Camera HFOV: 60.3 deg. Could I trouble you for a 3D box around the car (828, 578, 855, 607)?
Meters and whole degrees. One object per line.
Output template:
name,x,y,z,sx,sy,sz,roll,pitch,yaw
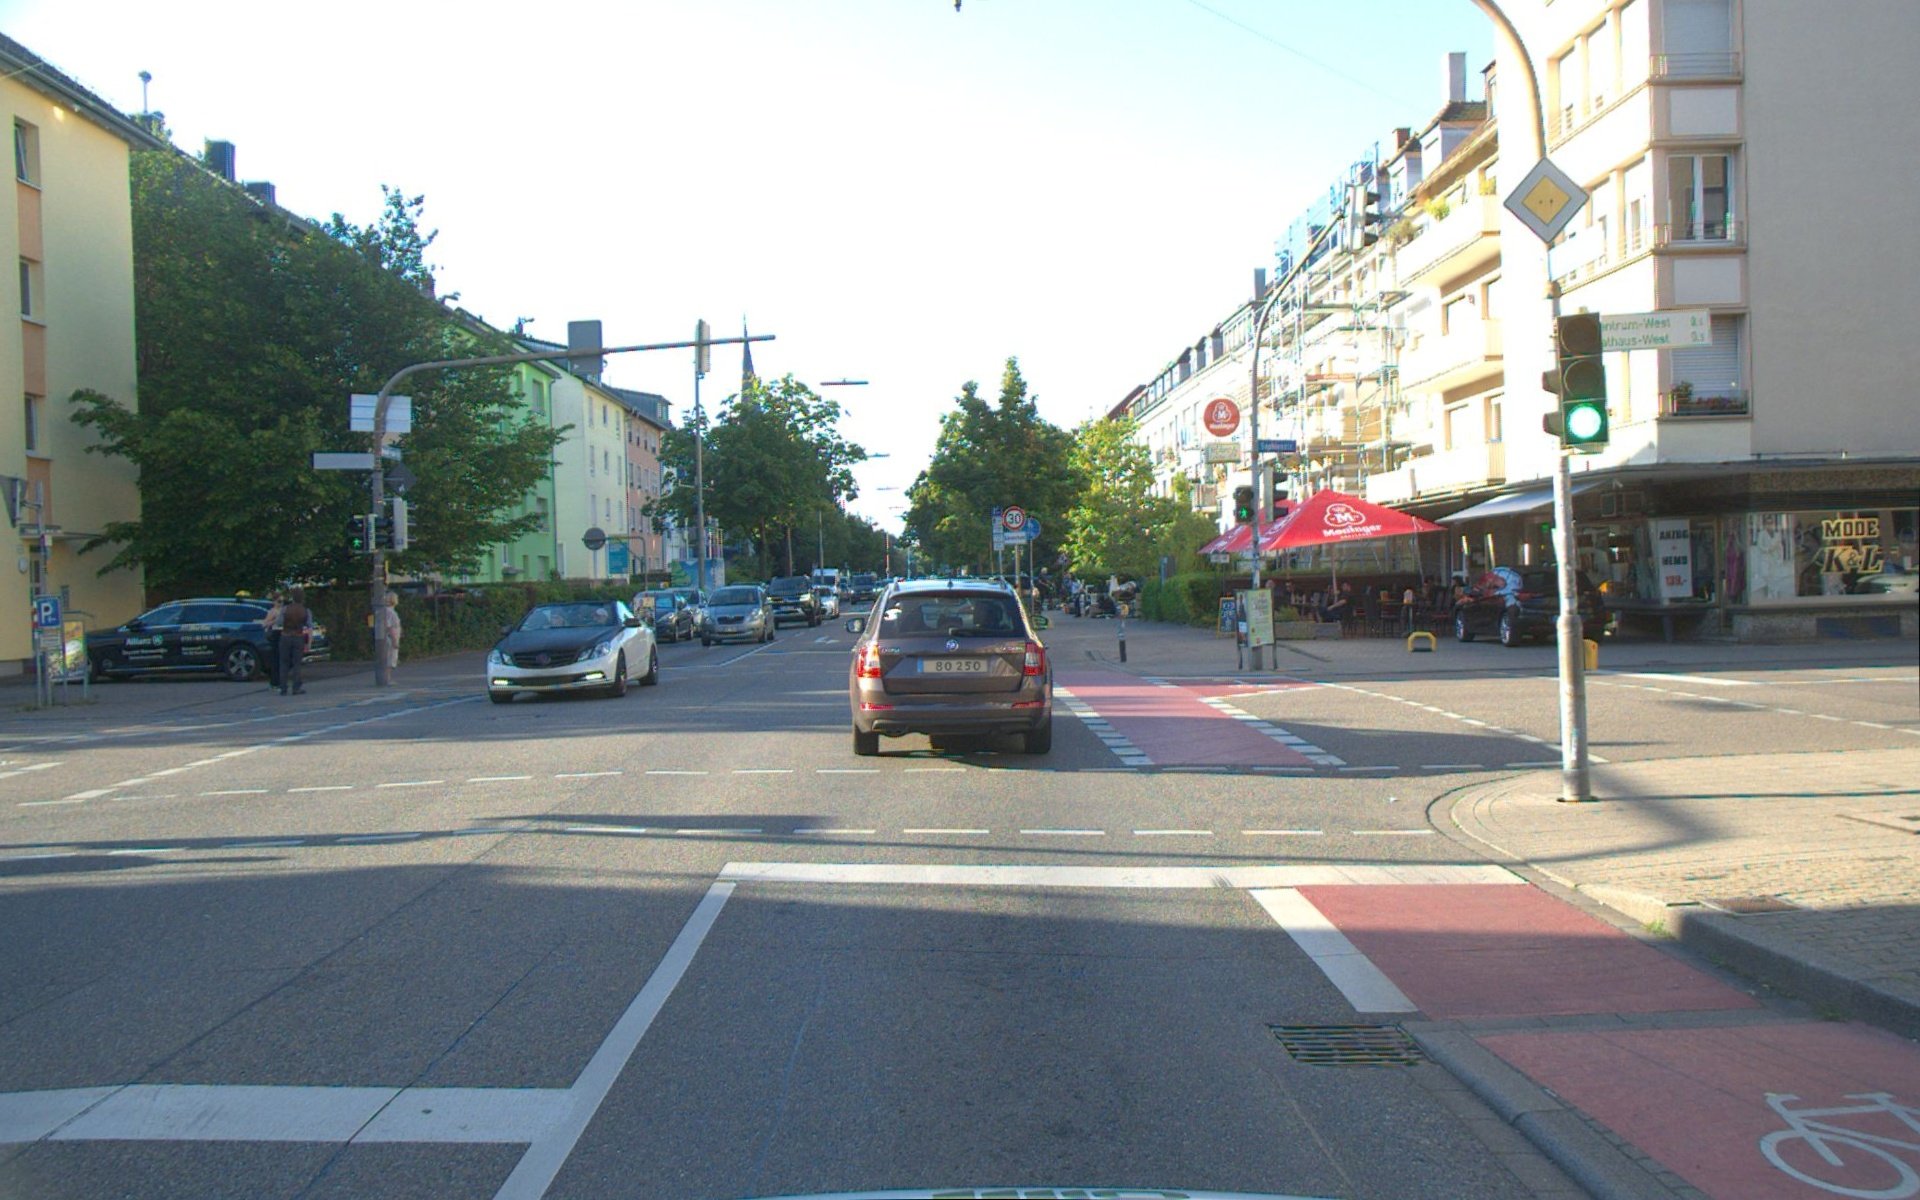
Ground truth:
car,-9.869,-0.625,137.974,1.953,2.368,3.999,-2,1,-1

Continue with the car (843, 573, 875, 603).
car,-7.098,-0.854,116.427,1.953,2.048,3.999,-2,1,-1

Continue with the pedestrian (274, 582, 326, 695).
pedestrian,-10.908,0.626,27.347,0.603,1.828,0.504,-2,0,-1

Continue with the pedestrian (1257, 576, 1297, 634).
pedestrian,6.897,0.105,36.030,0.664,1.219,0.855,-2,0,-1

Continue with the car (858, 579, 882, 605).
car,-8.244,-0.748,151.793,1.953,2.368,3.999,-2,1,-1

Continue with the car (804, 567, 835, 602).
car,-10.460,-1.155,123.392,1.953,2.521,3.999,-2,0,-1

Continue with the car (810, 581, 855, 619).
car,-5.565,-0.012,72.371,1.669,1.577,4.001,-2,1,-1

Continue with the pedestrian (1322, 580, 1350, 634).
pedestrian,8.458,0.150,37.202,0.495,1.197,0.428,-2,0,-2

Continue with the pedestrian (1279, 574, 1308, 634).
pedestrian,7.477,0.083,37.098,0.489,1.325,0.506,-2,0,-4

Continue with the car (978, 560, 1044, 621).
car,1.582,-0.306,51.228,1.952,1.803,4.001,0,1,1

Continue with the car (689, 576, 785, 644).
car,-5.819,0.238,43.573,1.953,1.638,4.000,-2,1,-1

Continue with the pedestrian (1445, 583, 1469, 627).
pedestrian,11.795,0.115,39.269,0.364,1.013,0.522,-2,0,-1

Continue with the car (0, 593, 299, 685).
car,-14.849,0.693,30.490,4.540,1.562,1.861,-1,0,-2

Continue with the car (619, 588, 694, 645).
car,-8.559,0.440,46.901,1.492,1.482,3.584,-2,1,-1

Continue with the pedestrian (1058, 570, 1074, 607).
pedestrian,4.719,-0.509,73.437,0.567,1.590,0.518,-2,0,-11

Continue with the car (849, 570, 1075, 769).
car,-0.047,0.511,14.919,1.737,1.515,4.309,-1,1,-2

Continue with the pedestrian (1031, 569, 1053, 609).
pedestrian,3.629,-0.475,73.096,0.661,1.734,0.800,-2,0,25

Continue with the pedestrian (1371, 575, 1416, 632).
pedestrian,9.578,0.068,36.564,0.714,1.219,0.855,-2,0,-1

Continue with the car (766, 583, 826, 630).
car,-5.755,0.206,58.522,1.751,1.598,4.000,0,1,-1

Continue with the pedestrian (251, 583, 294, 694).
pedestrian,-11.586,0.640,27.886,0.440,1.828,0.504,-2,0,-1

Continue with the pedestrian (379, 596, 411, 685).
pedestrian,-9.899,0.702,29.003,0.294,1.530,0.640,-2,0,-1

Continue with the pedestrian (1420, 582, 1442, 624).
pedestrian,11.645,0.067,40.868,0.364,1.013,0.522,-2,0,-1

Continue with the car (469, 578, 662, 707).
car,-5.476,0.535,23.456,1.793,1.607,3.999,-2,1,-1

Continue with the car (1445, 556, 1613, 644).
car,10.683,-0.019,31.350,1.740,1.512,4.000,-2,1,-1

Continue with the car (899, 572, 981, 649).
car,-0.433,0.203,36.461,1.701,1.598,4.000,0,1,-1

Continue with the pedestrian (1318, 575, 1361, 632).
pedestrian,8.347,0.066,36.363,0.714,1.219,0.855,-2,0,-1

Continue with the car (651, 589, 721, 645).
car,-8.664,0.509,52.511,1.528,1.646,4.000,-2,1,-1
